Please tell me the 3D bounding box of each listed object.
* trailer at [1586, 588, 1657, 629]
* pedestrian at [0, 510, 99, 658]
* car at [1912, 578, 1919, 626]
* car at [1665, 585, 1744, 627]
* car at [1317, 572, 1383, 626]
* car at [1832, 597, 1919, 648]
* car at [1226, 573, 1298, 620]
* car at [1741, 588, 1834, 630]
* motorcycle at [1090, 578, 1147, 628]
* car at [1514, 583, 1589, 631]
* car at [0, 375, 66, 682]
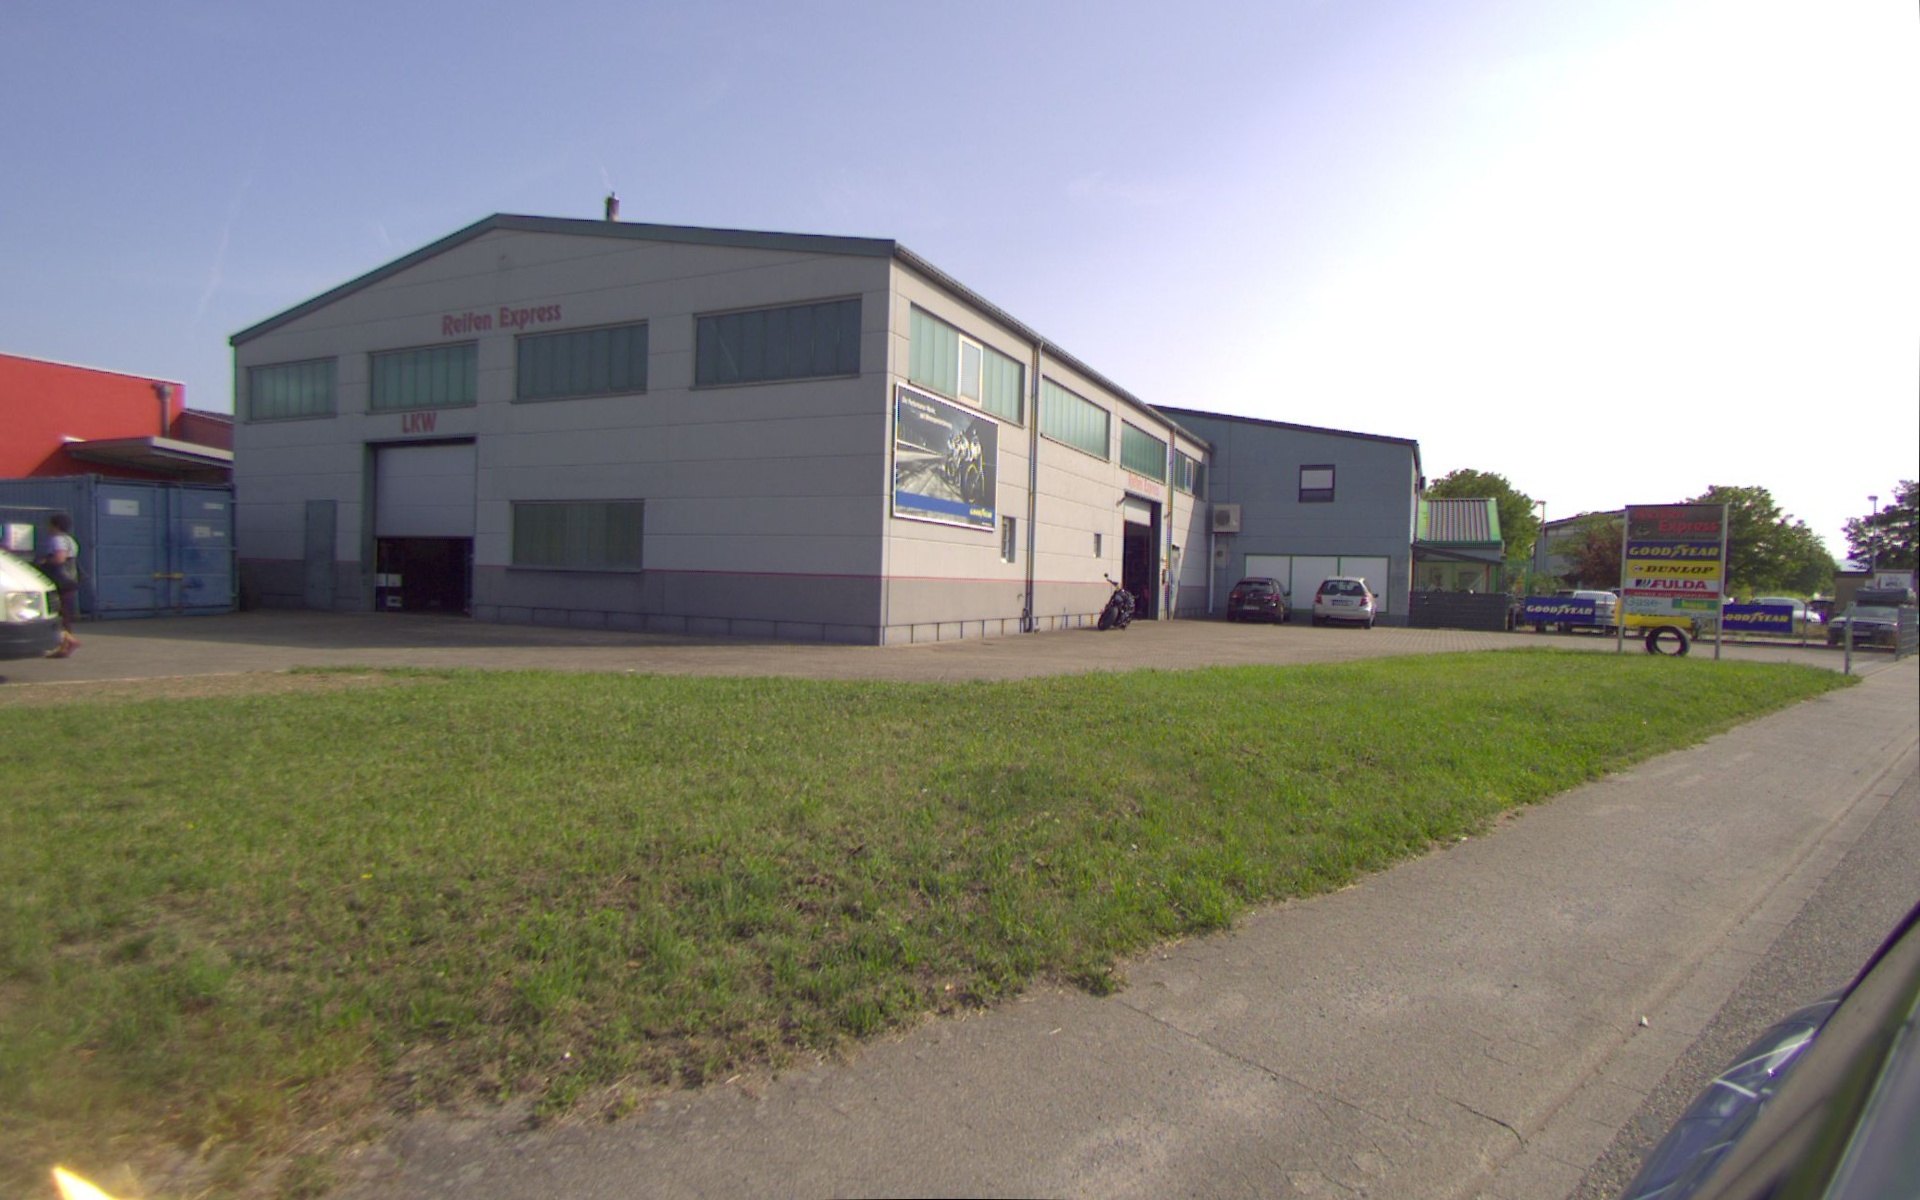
[{"bbox_3d":[21.480,0.253,32.966,1.479,1.264,2.952,0,0,24],"label":"trailer"},{"bbox_3d":[-10.600,-0.186,11.741,0.733,1.660,0.706,1,1,-22],"label":"pedestrian"},{"bbox_3d":[54.445,0.126,52.751,6.650,2.571,2.270,0,0,16],"label":"car"},{"bbox_3d":[30.925,0.206,42.156,1.702,1.592,4.100,2,1,24],"label":"car"},{"bbox_3d":[12.575,-0.069,32.491,1.623,1.587,3.771,2,1,26],"label":"car"},{"bbox_3d":[27.837,0.629,30.370,4.312,1.386,1.678,0,1,-38],"label":"car"},{"bbox_3d":[10.037,-0.140,33.445,1.665,1.420,3.678,2,1,26],"label":"car"},{"bbox_3d":[32.224,0.295,39.528,1.674,1.484,4.228,2,1,24],"label":"car"},{"bbox_3d":[3.742,0.051,23.759,0.794,1.108,2.185,2,1,24],"label":"motorcycle"},{"bbox_3d":[19.920,0.200,34.251,1.627,1.484,4.425,2,1,24],"label":"car"},{"bbox_3d":[-11.090,-0.669,8.153,5.778,2.739,1.978,0,1,-41],"label":"car"}]
